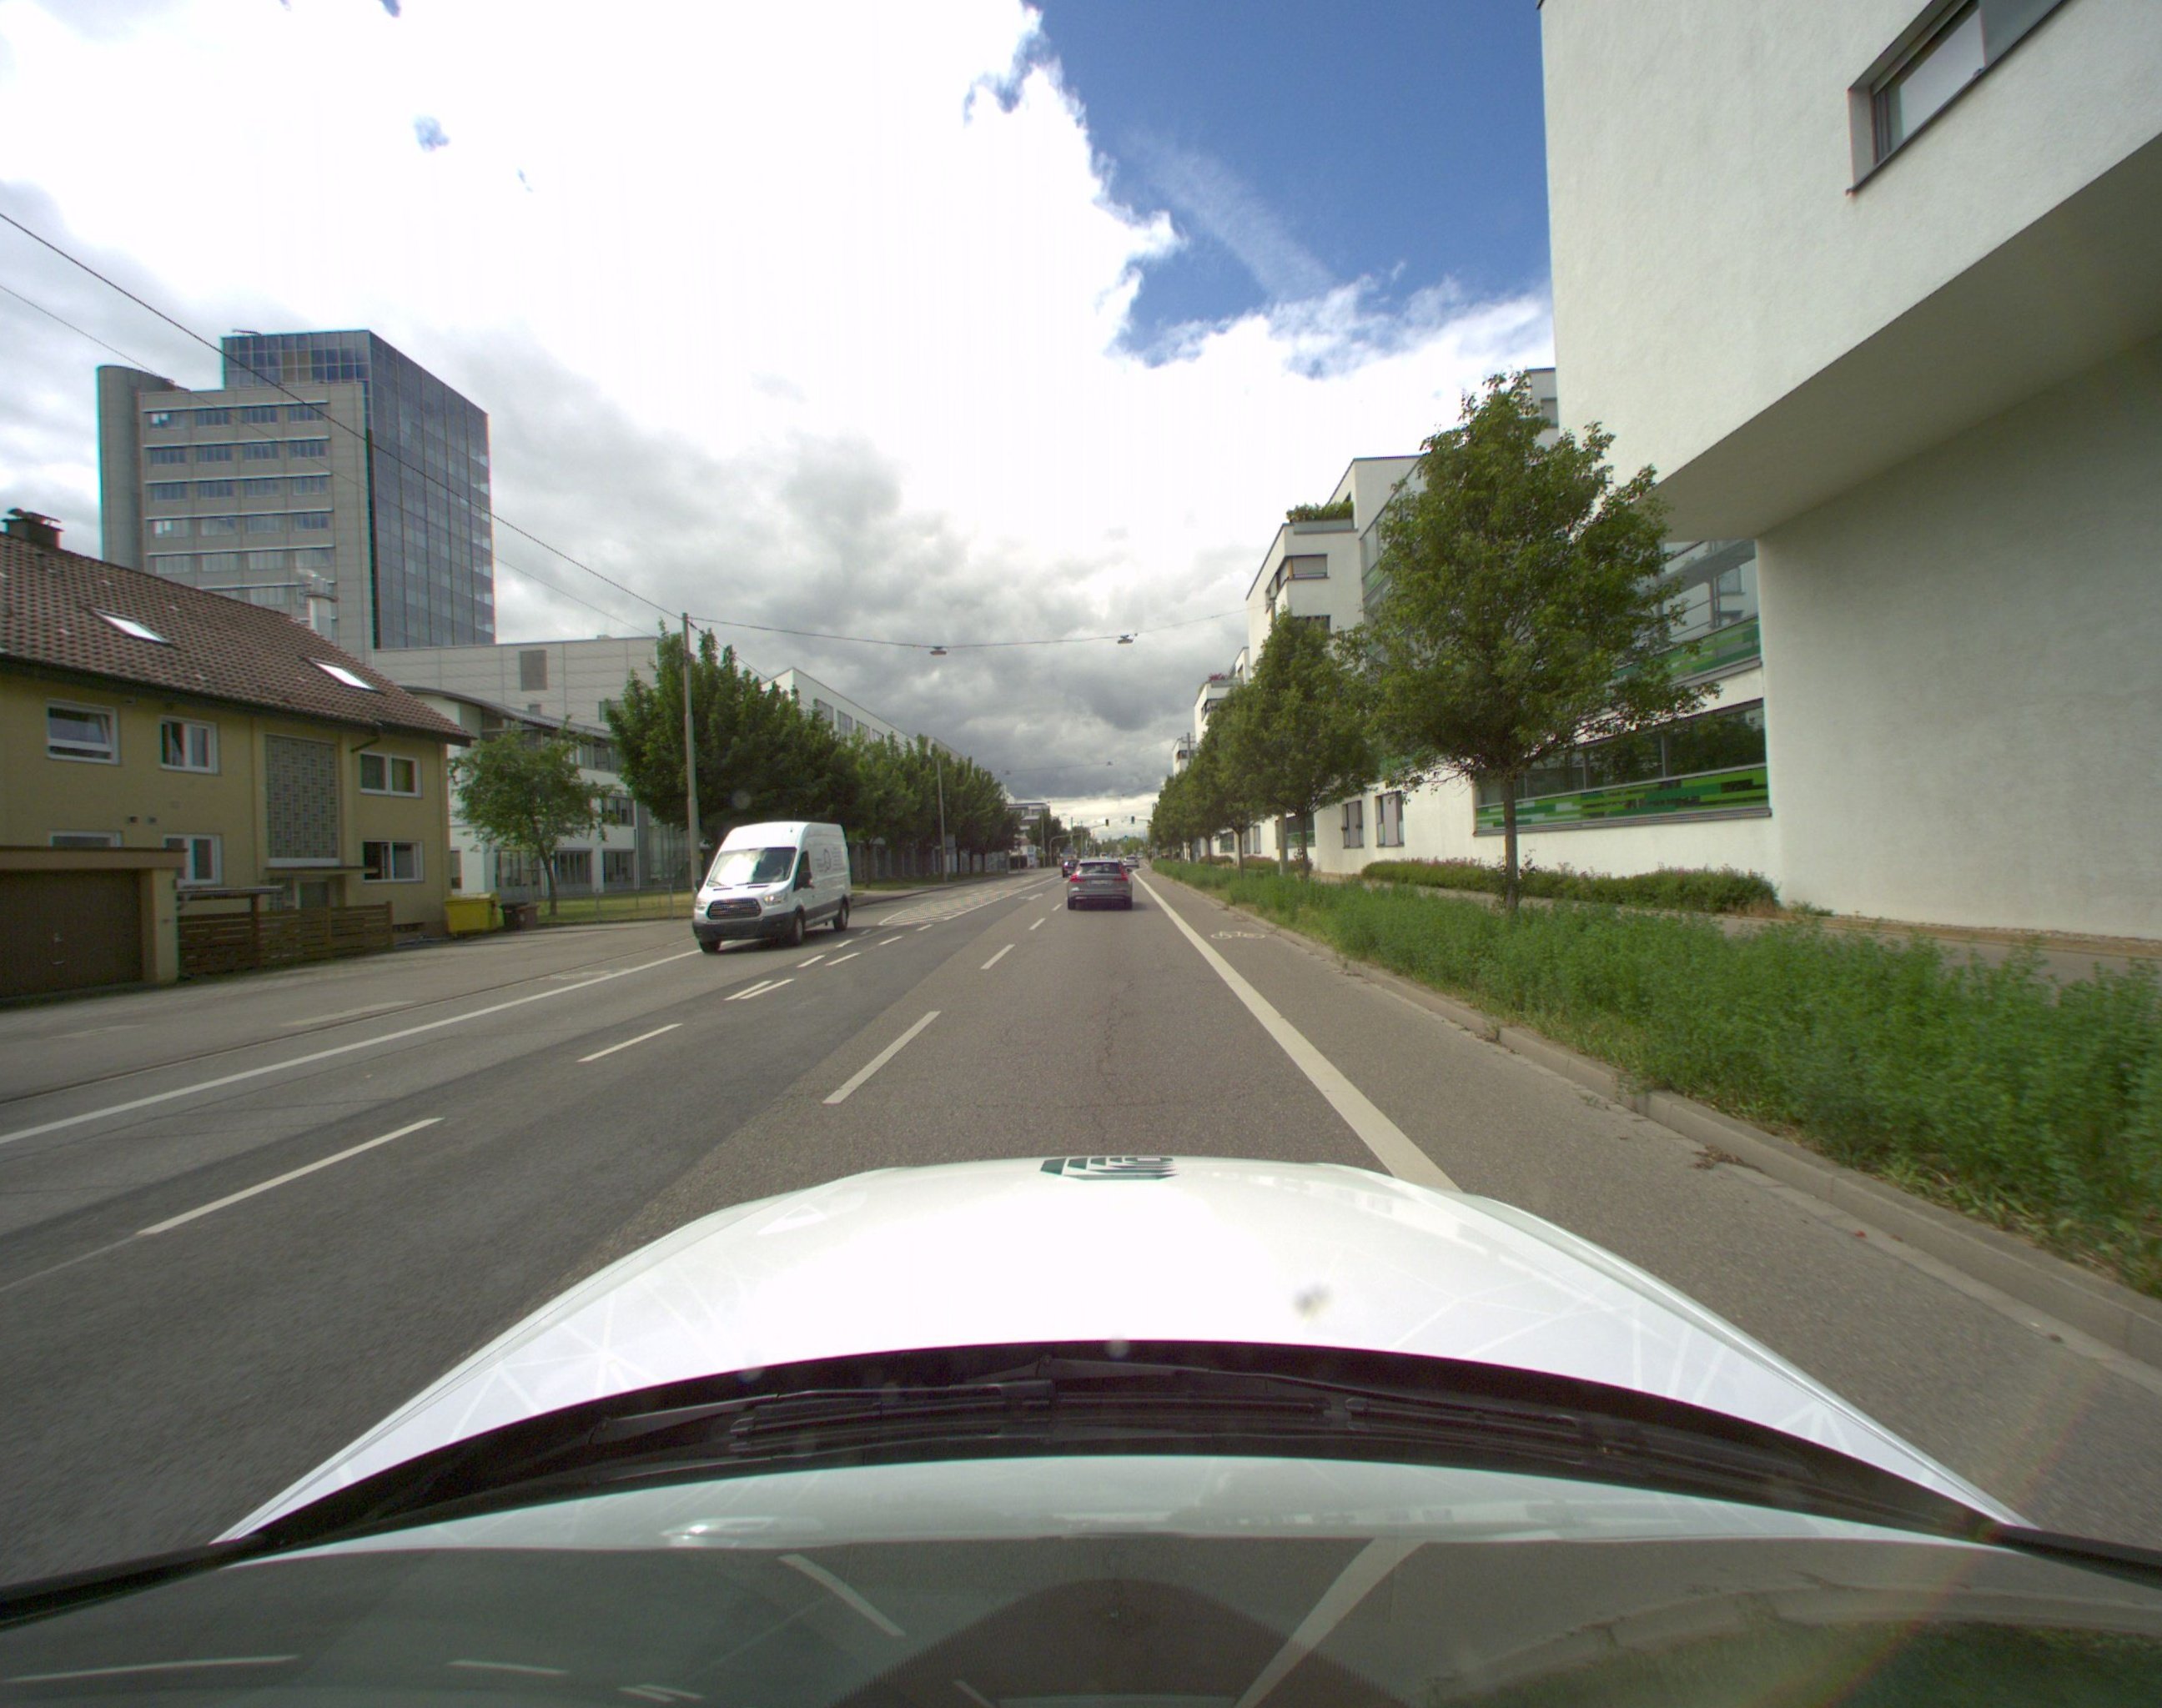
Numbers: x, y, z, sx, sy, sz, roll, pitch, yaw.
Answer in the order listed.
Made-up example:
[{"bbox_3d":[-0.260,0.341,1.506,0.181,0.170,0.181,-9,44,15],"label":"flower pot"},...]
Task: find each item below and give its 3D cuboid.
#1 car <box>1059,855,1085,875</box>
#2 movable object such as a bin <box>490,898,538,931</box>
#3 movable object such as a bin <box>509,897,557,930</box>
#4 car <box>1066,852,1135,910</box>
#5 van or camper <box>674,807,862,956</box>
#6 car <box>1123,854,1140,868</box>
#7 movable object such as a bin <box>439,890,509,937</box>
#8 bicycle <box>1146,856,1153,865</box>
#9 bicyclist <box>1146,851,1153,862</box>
[{"bbox_3d":[-0.718,0.850,64.968,1.847,1.513,4.002,-2,0,2],"label":"car"},{"bbox_3d":[-18.333,1.960,26.338,0.742,0.941,1.001,-4,0,9],"label":"movable object such as a bin"},{"bbox_3d":[-17.579,1.907,26.139,0.742,0.941,1.001,-4,0,9],"label":"movable object such as a bin"},{"bbox_3d":[0.578,0.739,24.366,1.848,1.513,4.001,-2,0,1],"label":"car"},{"bbox_3d":[-6.857,0.532,18.751,1.988,2.734,6.048,-4,0,-2],"label":"van or camper"},{"bbox_3d":[6.010,0.834,96.709,1.838,1.513,4.002,-2,0,2],"label":"car"},{"bbox_3d":[-19.714,1.906,26.499,1.410,1.330,1.414,-4,0,-19],"label":"movable object such as a bin"},{"bbox_3d":[12.350,1.196,146.801,1.063,1.453,2.978,-4,0,2],"label":"bicycle"},{"bbox_3d":[12.290,0.413,146.757,1.010,2.013,1.132,-4,0,1],"label":"bicyclist"}]
